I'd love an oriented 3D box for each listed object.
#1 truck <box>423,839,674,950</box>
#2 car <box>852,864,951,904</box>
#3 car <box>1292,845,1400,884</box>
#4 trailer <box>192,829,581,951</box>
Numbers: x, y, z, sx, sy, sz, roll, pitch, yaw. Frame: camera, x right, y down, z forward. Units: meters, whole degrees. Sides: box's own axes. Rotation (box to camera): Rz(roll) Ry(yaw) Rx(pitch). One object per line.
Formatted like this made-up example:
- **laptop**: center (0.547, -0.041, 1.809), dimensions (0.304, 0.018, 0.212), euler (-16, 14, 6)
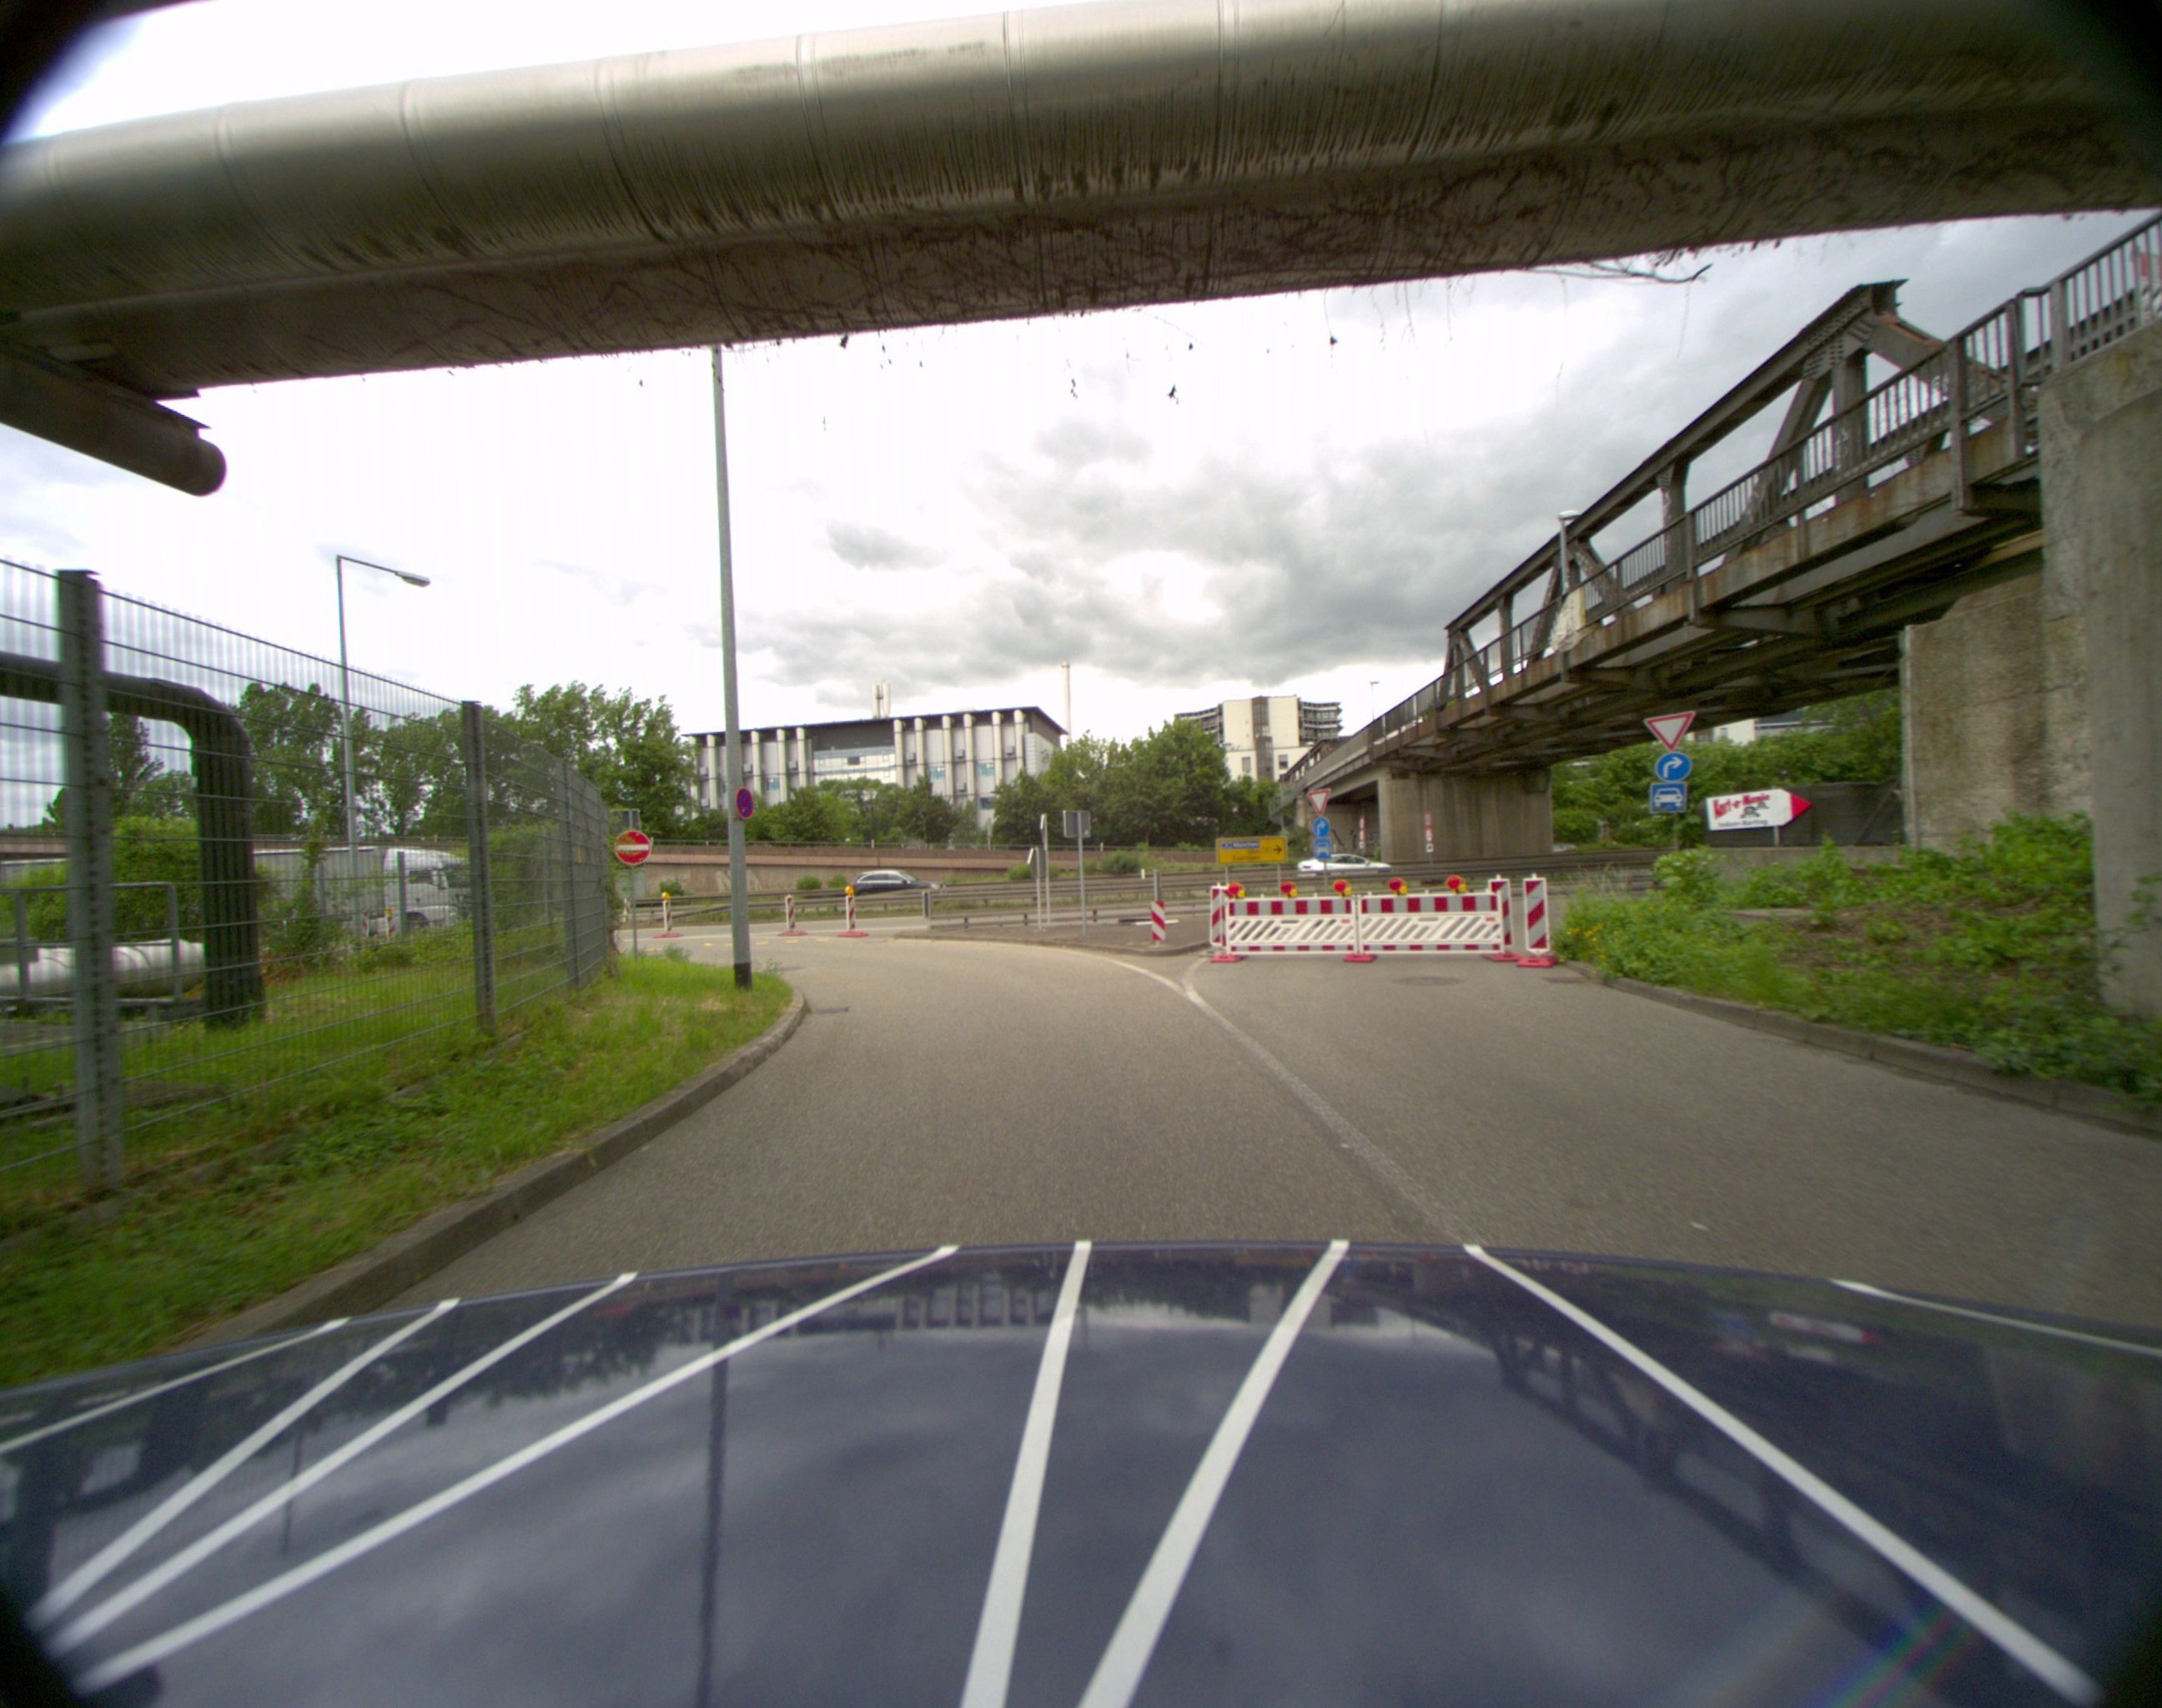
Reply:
- **truck**: center (-22.607, 1.630, 32.680), dimensions (8.136, 4.108, 3.162), euler (-3, 3, -2)
- **car**: center (-8.750, 1.445, 37.383), dimensions (4.289, 1.504, 1.979), euler (-2, 6, 0)
- **car**: center (12.733, 0.481, 36.667), dimensions (4.456, 1.533, 1.999), euler (-3, 2, 1)
- **trailer**: center (-29.293, 1.416, 32.551), dimensions (13.255, 4.300, 3.165), euler (-3, 2, -1)
